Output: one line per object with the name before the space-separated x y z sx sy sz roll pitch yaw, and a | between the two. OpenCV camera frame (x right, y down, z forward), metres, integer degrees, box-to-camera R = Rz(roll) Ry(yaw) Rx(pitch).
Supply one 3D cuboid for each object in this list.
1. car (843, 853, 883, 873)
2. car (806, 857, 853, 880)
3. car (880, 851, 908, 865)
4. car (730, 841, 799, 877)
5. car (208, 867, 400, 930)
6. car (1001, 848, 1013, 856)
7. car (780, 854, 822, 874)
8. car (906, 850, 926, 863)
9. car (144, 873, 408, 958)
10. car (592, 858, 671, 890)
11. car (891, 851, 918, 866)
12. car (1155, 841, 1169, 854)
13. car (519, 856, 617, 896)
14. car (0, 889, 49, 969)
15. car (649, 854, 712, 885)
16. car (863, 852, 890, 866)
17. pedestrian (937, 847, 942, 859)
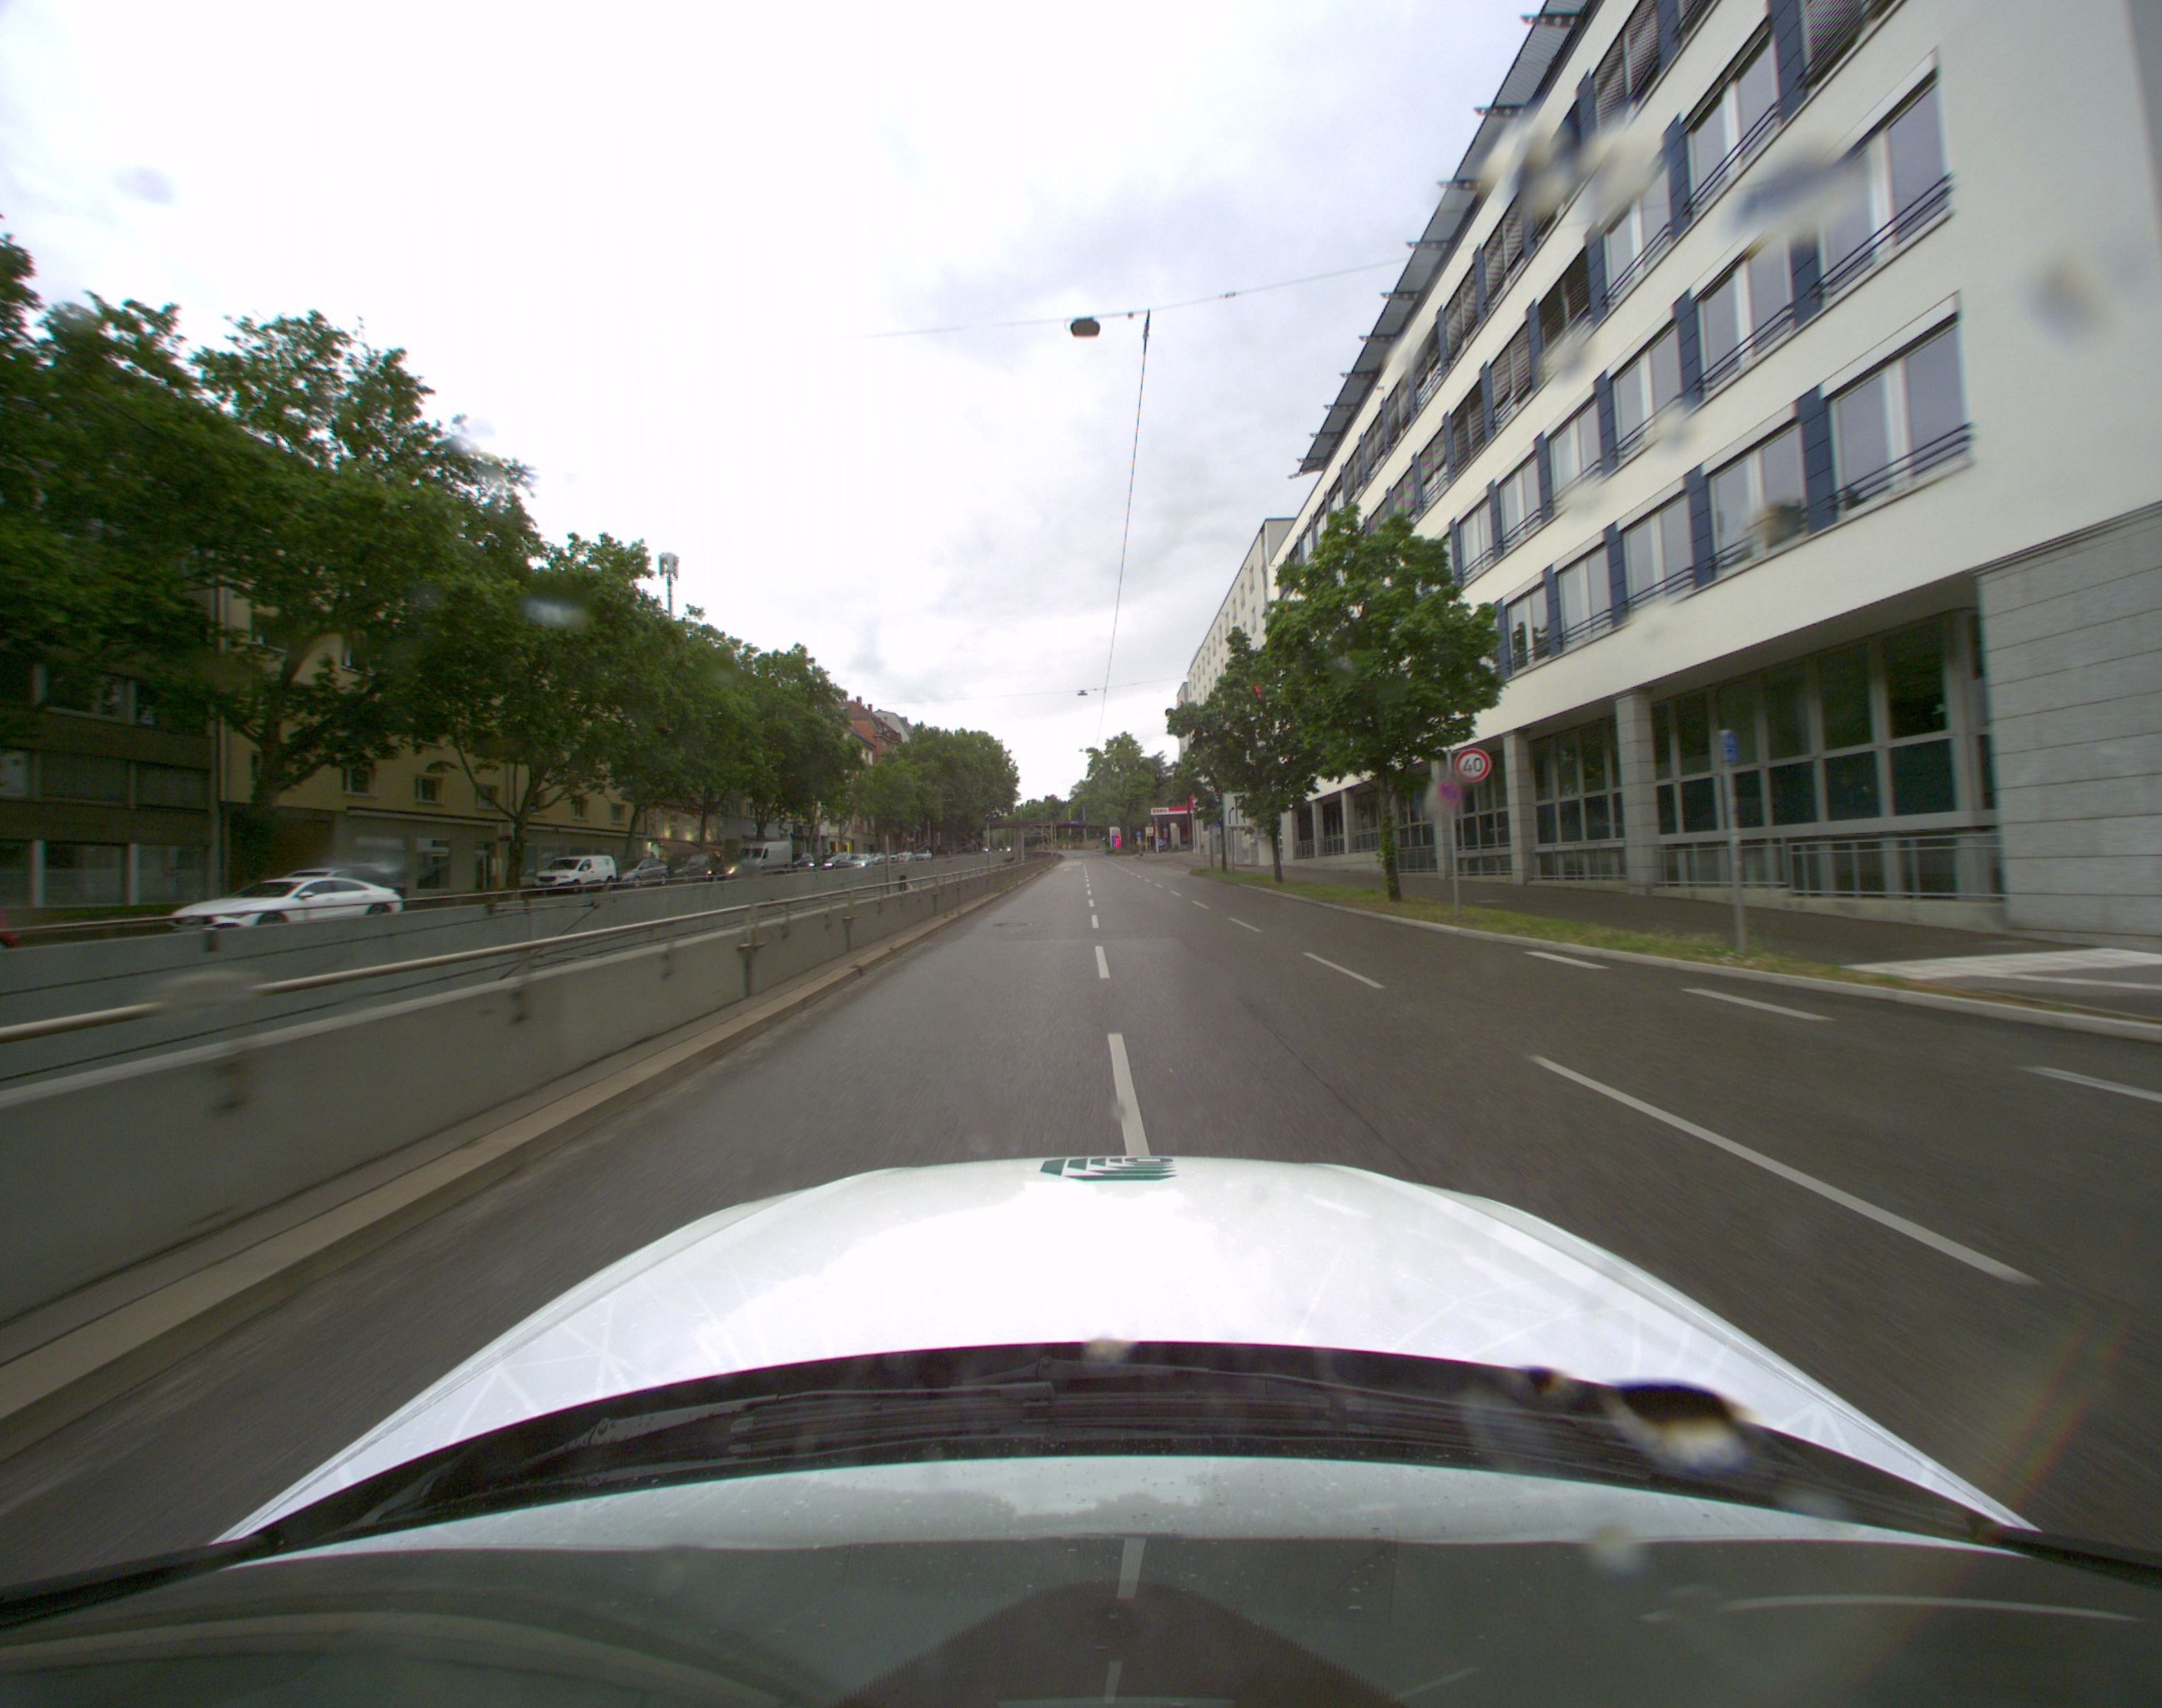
car | -18.118 0.727 67.786 1.839 1.510 4.824 -1 1 2
car | -17.827 1.004 57.813 1.787 1.510 4.347 -2 0 2
car | -22.344 0.423 97.592 1.920 1.601 5.201 -1 1 2
car | -24.490 0.324 63.456 2.443 2.662 6.935 -1 1 2
car | -23.137 1.248 24.486 1.787 1.580 4.019 -2 1 2
car | -14.132 -0.404 154.989 2.021 1.510 4.878 -1 1 -3
car | -23.830 0.823 69.451 1.787 1.510 4.674 -1 1 2
car | -22.093 0.287 109.386 1.788 1.611 4.113 -1 1 1
car | -19.934 1.432 20.544 1.787 1.770 4.734 -2 0 2
car | -25.189 1.077 45.805 1.870 1.583 4.473 -1 1 1
car | -19.600 0.489 90.714 1.838 1.510 4.021 -1 1 4
car | 11.860 -0.947 119.262 1.762 1.623 3.877 -4 0 10
car | -25.460 1.043 40.656 1.872 1.764 4.897 -1 1 -2
car | -20.124 1.362 13.278 1.579 1.401 3.881 -2 0 1
car | -24.702 0.927 50.391 1.789 1.729 4.205 -1 1 -1
car | -22.634 0.554 90.190 1.787 1.510 4.210 -1 1 2
pedestrian | -23.389 -0.156 134.770 0.666 2.014 0.935 0 -1 4
